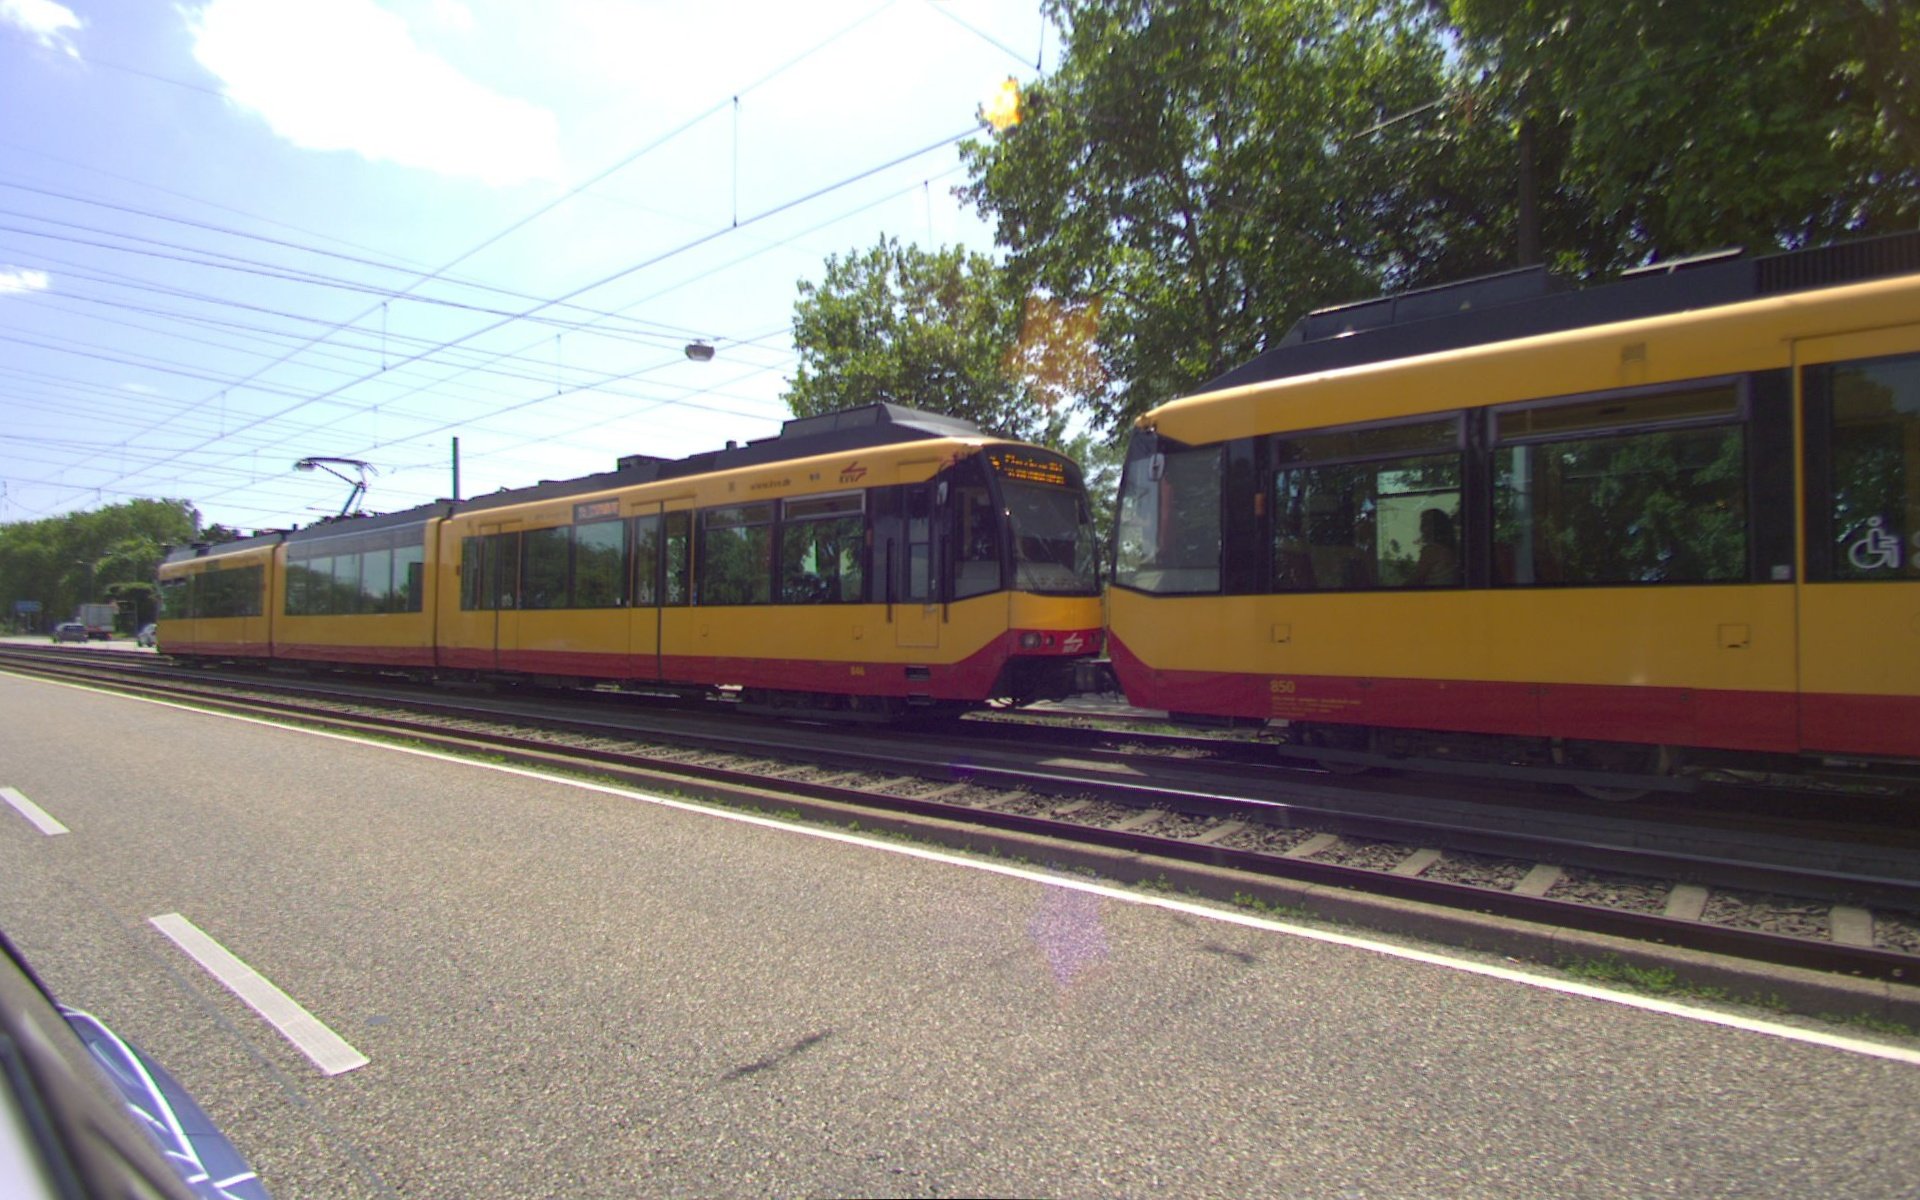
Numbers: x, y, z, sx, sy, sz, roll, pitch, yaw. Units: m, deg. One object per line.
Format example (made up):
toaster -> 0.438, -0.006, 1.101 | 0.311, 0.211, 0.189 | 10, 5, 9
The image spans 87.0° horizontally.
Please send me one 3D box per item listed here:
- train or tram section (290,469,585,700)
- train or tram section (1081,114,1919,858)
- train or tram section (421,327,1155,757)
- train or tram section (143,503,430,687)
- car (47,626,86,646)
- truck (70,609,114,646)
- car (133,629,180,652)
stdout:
train or tram section -> -11.845, -0.189, 22.545 | 7.996, 4.300, 3.017 | -2, -2, 40
train or tram section -> 7.190, -0.656, 6.114 | 13.475, 4.186, 3.006 | -2, -2, 41
train or tram section -> -3.933, -0.419, 15.821 | 14.026, 4.300, 3.017 | -2, -2, 40
train or tram section -> -20.447, 0.062, 29.896 | 15.412, 4.300, 3.017 | -2, -2, 41
car -> -71.563, 2.851, 81.014 | 3.953, 1.547, 1.735 | -2, -2, 39
truck -> -79.197, 2.514, 92.322 | 6.039, 3.261, 2.226 | -2, -2, 42
car -> -51.804, 2.580, 65.220 | 4.125, 1.432, 1.619 | -2, -2, 41
